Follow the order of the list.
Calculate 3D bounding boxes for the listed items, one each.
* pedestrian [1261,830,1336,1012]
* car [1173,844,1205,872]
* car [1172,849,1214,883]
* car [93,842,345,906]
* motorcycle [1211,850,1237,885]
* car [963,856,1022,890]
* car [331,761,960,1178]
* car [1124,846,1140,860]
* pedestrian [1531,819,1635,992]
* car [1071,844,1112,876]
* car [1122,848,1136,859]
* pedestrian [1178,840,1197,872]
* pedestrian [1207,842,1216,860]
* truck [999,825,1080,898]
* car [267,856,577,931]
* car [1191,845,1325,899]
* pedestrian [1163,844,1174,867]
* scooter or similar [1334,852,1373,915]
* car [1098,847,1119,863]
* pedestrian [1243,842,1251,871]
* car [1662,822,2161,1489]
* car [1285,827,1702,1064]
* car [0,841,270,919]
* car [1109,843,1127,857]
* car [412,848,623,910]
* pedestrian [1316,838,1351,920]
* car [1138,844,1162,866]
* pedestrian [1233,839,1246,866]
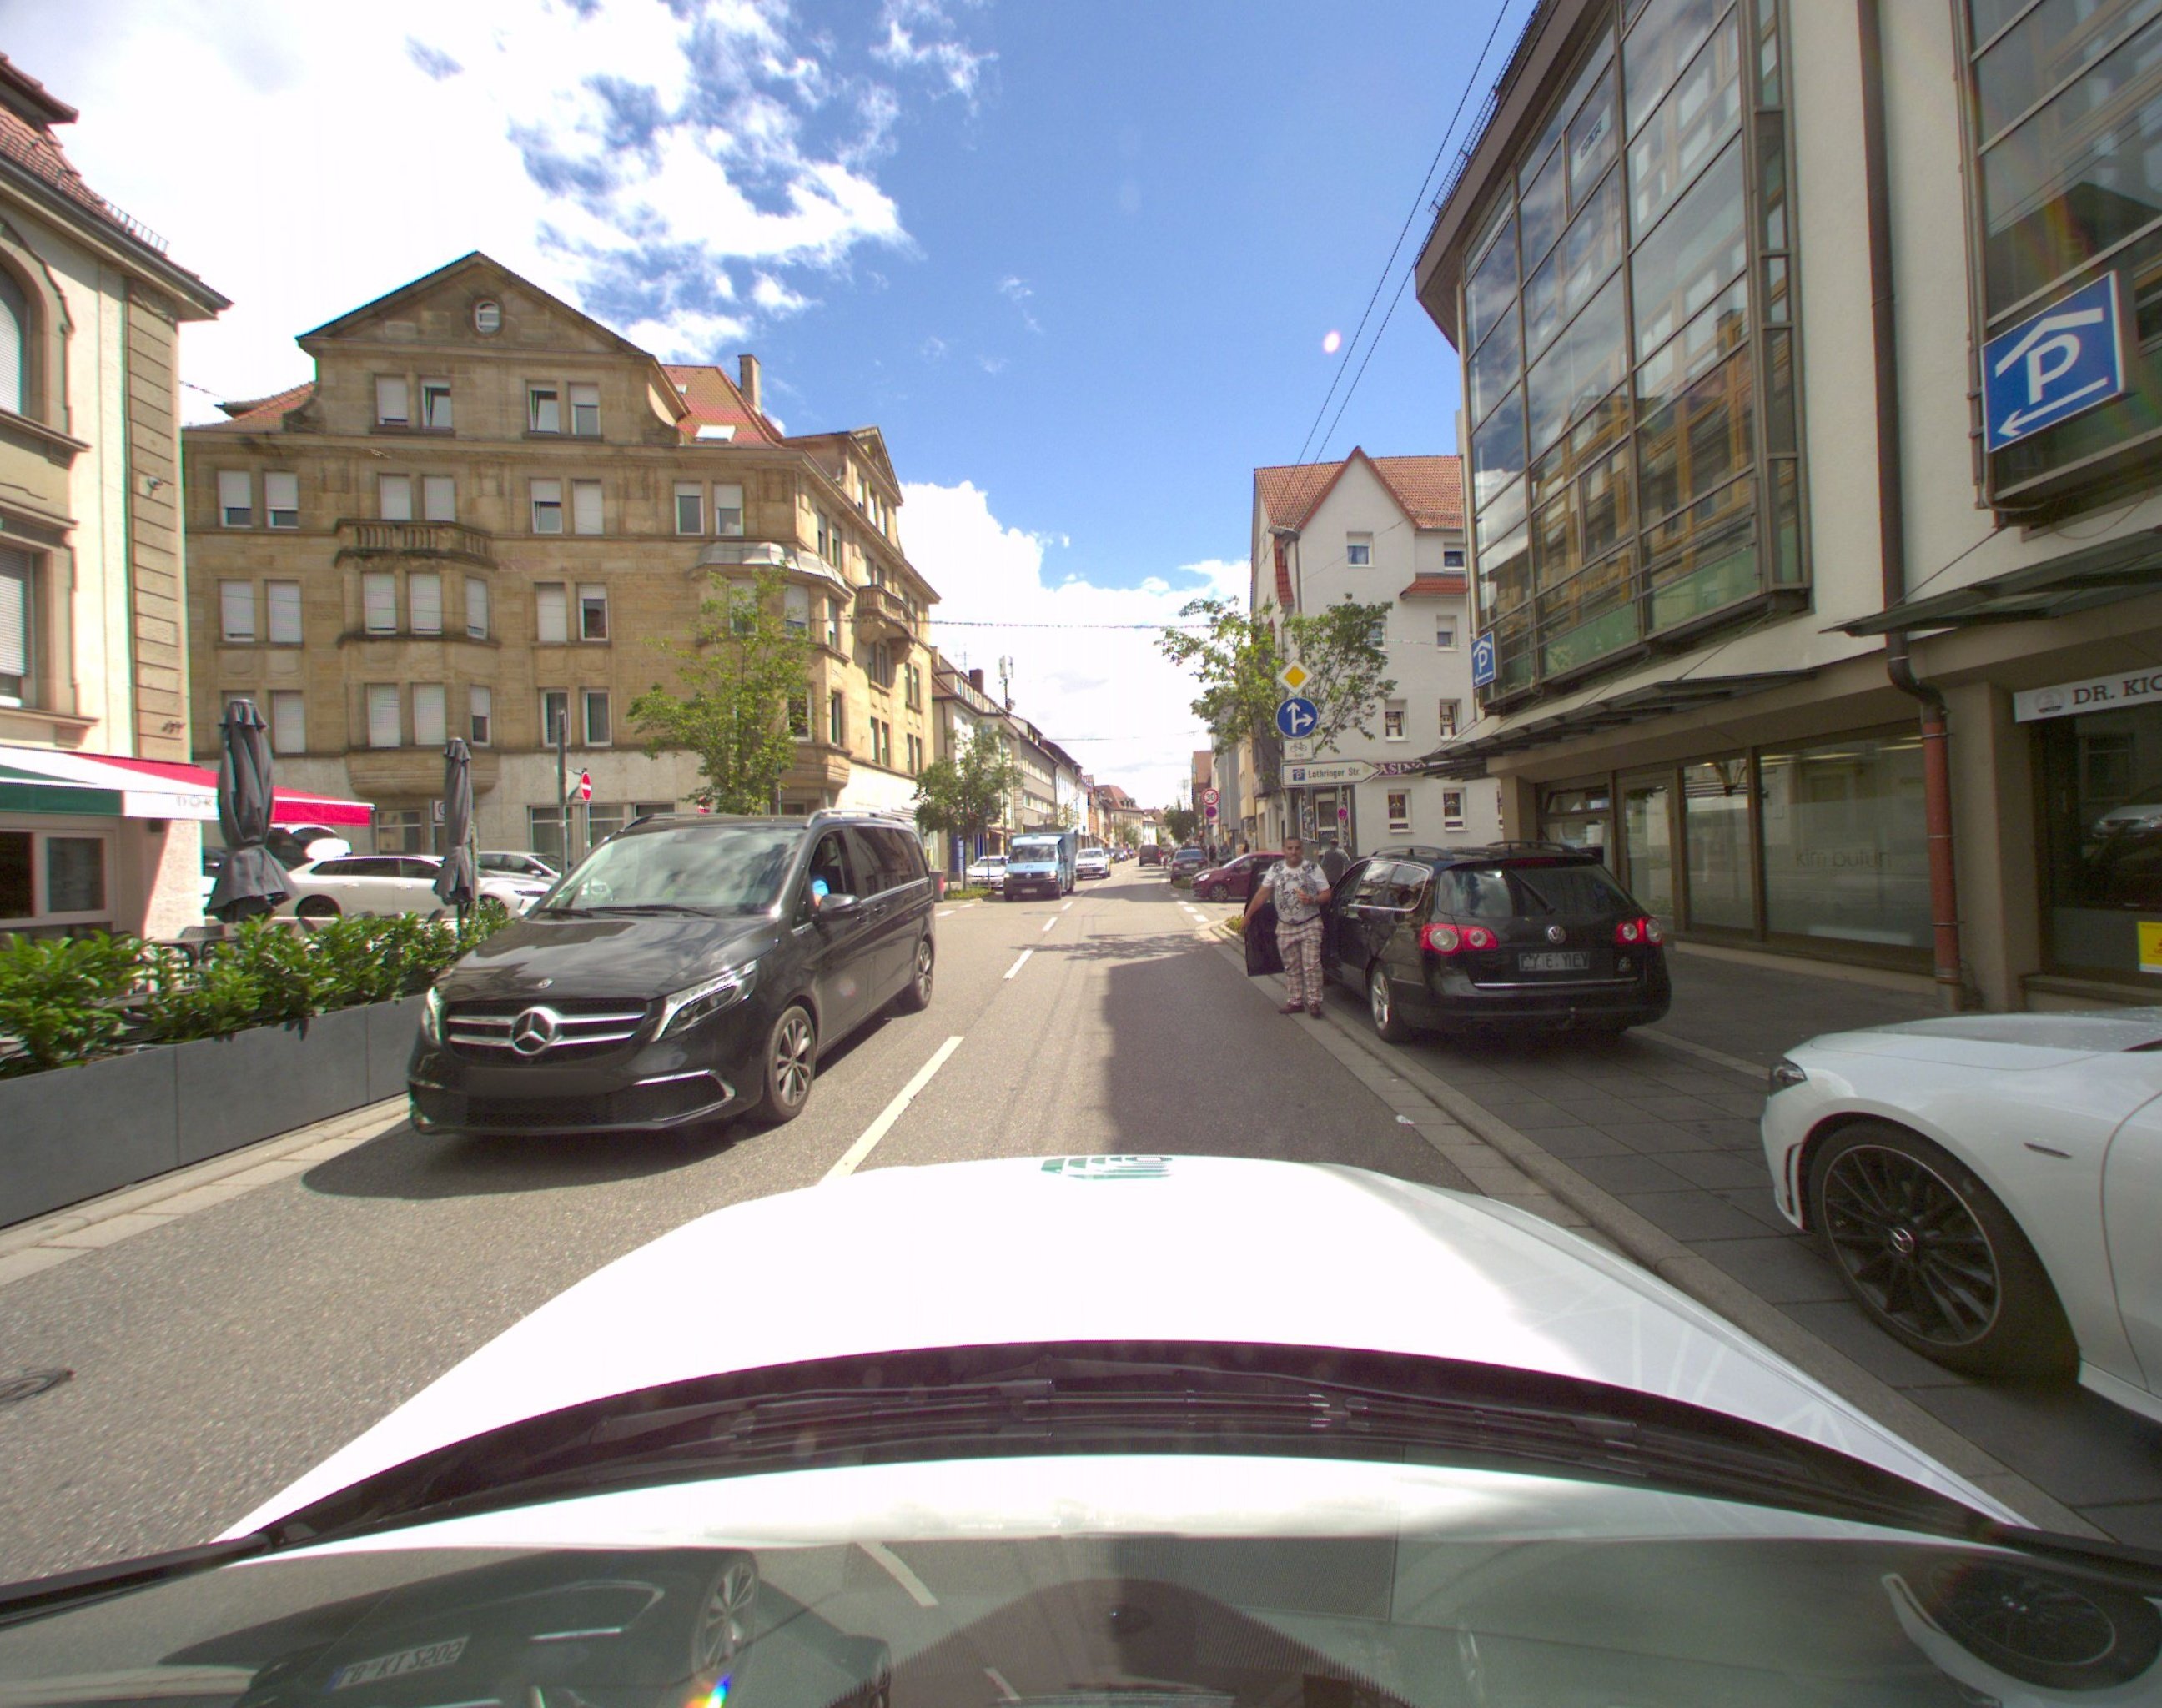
[{"bbox_3d":[2.012,0.594,7.525,0.578,1.600,0.551,-1,-1,23],"label":"pedestrian"},{"bbox_3d":[6.788,0.241,51.485,1.790,1.603,4.210,-4,0,5],"label":"car"},{"bbox_3d":[4.968,0.508,35.815,1.697,1.420,4.329,-1,-1,9],"label":"car"},{"bbox_3d":[-22.155,0.501,21.099,4.195,1.561,1.998,0,-1,-3],"label":"car"},{"bbox_3d":[5.389,0.490,30.728,0.656,1.259,2.378,0,-1,3],"label":"motorcycle"},{"bbox_3d":[-3.765,0.788,35.160,1.837,1.398,4.041,0,-1,4],"label":"car"},{"bbox_3d":[-2.462,0.507,6.445,1.863,1.933,5.181,-2,1,3],"label":"car"},{"bbox_3d":[7.100,-0.075,113.534,1.806,1.888,4.851,0,-1,7],"label":"car"},{"bbox_3d":[4.665,0.467,7.594,0.657,1.562,0.477,0,-1,3],"label":"pedestrian"},{"bbox_3d":[0.623,0.349,44.067,1.778,1.640,4.123,0,-1,6],"label":"car"},{"bbox_3d":[7.448,-0.101,125.557,1.790,1.598,4.398,-1,0,7],"label":"car"},{"bbox_3d":[6.409,0.119,48.945,0.970,1.863,0.866,-4,-1,5],"label":"pedestrian"},{"bbox_3d":[11.830,-0.247,73.755,0.746,1.553,0.727,-2,-1,6],"label":"pedestrian"},{"bbox_3d":[-1.336,0.262,29.271,2.097,2.305,6.483,0,-1,4],"label":"truck"},{"bbox_3d":[-12.987,0.744,16.395,4.375,1.381,1.992,0,-1,-11],"label":"car"},{"bbox_3d":[5.178,0.536,24.147,3.728,1.530,1.539,0,-1,5],"label":"car"},{"bbox_3d":[6.238,0.096,58.346,0.728,1.618,0.652,0,-1,2],"label":"pedestrian"},{"bbox_3d":[5.718,0.611,17.160,0.429,1.280,1.250,0,-1,2],"label":"scooter or similar"},{"bbox_3d":[3.184,0.106,92.449,1.805,1.755,4.681,-1,-1,9],"label":"car"},{"bbox_3d":[9.957,0.166,48.862,0.434,1.718,0.537,0,-1,4],"label":"pedestrian"},{"bbox_3d":[3.223,0.634,1.021,1.845,1.445,4.538,-2,0,2],"label":"car"},{"bbox_3d":[3.156,0.571,7.403,1.707,1.454,4.557,-2,0,4],"label":"car"},{"bbox_3d":[-18.505,0.469,15.339,4.221,1.381,1.824,0,-1,-11],"label":"car"},{"bbox_3d":[4.842,-0.485,105.606,1.806,1.755,4.474,0,-1,8],"label":"car"},{"bbox_3d":[-15.028,0.654,21.940,4.195,1.561,1.998,0,-1,-3],"label":"car"},{"bbox_3d":[5.325,0.512,17.195,0.569,1.703,0.481,0,-1,-1],"label":"pedestrian"},{"bbox_3d":[6.144,0.108,71.603,2.031,1.848,5.007,0,-1,6],"label":"car"},{"bbox_3d":[10.249,-0.073,52.753,0.740,1.718,0.657,-2,-1,5],"label":"pedestrian"}]
